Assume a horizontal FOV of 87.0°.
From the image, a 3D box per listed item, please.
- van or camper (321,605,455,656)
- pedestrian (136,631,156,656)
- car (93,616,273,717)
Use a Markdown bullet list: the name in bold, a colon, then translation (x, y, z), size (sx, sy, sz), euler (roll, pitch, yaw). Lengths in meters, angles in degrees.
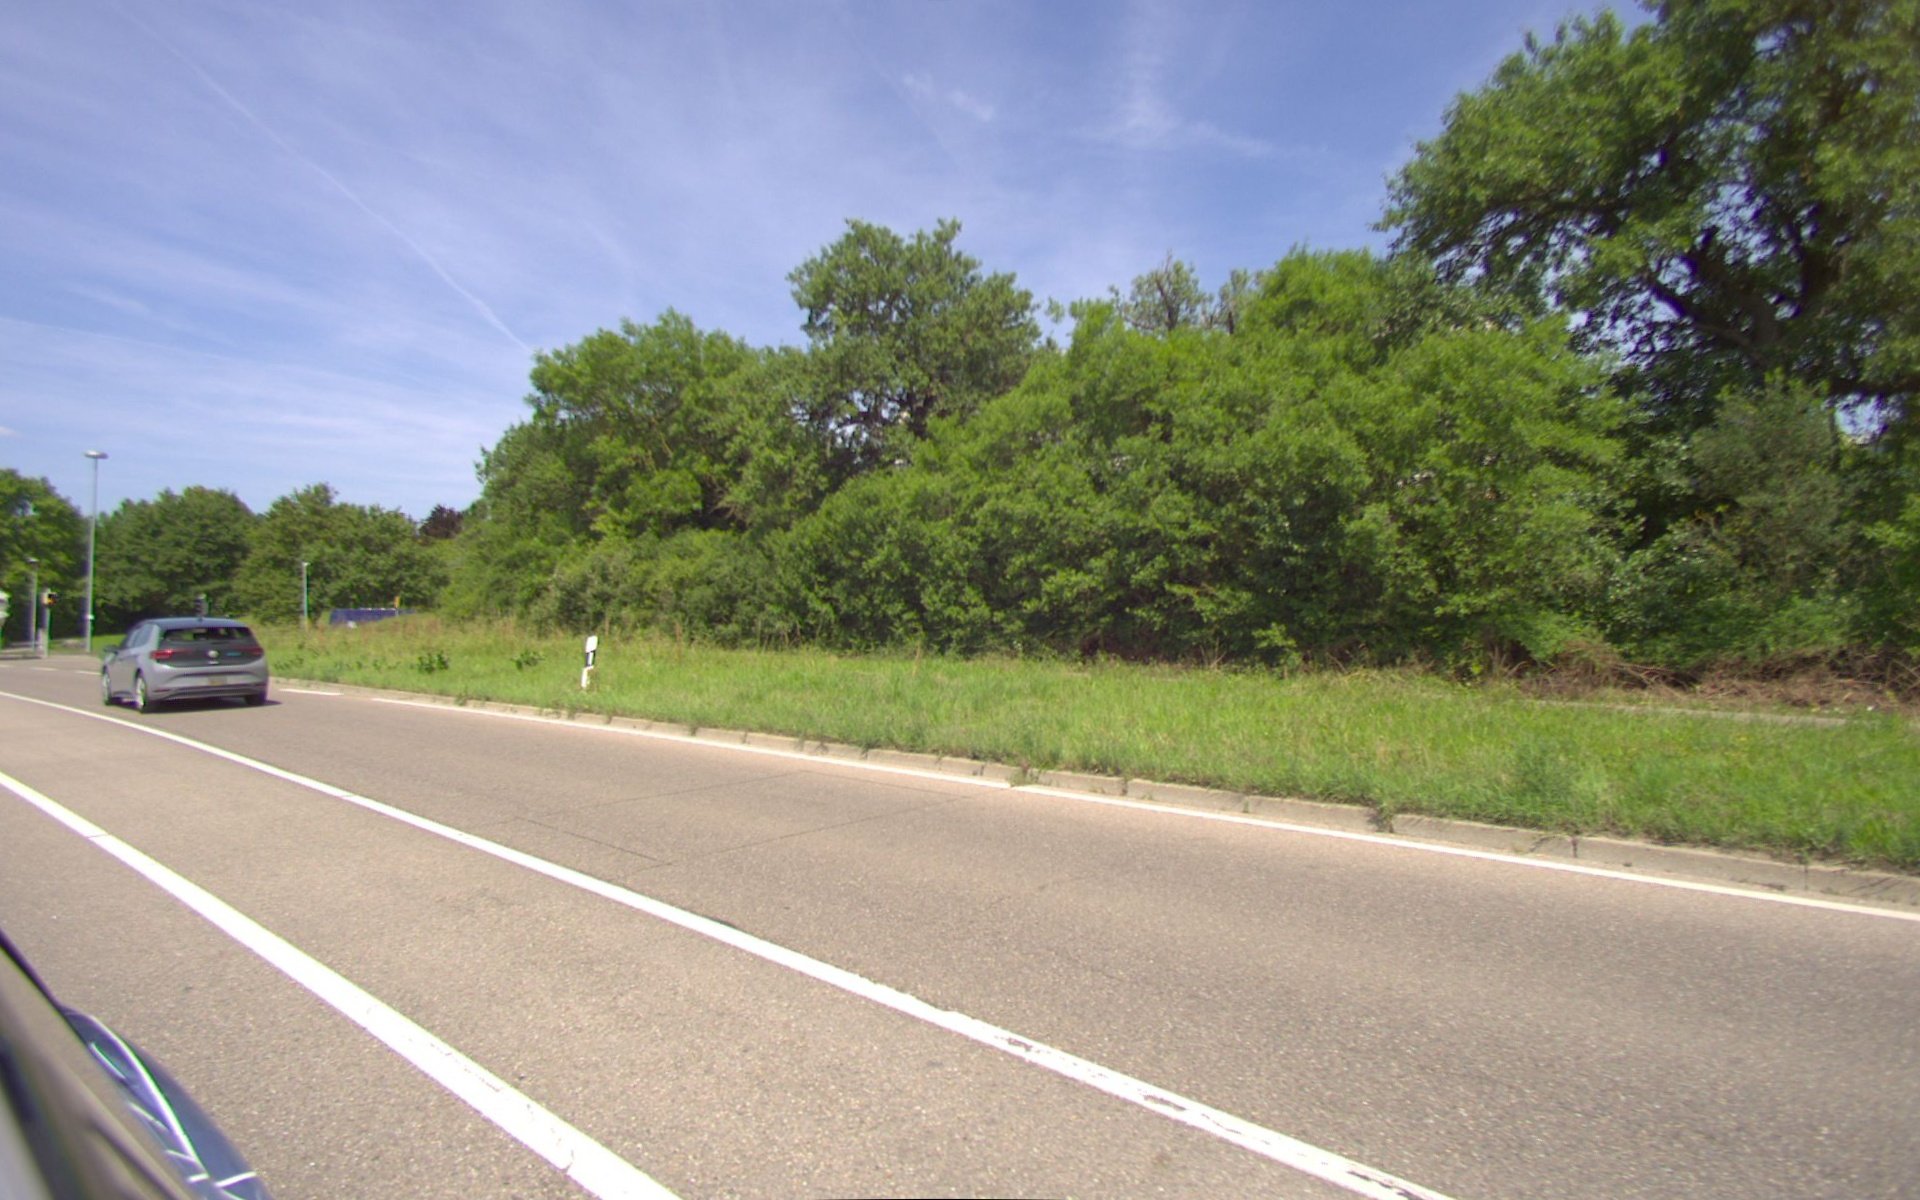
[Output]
- **van or camper**: translation (-36.935, 2.076, 65.575), size (2.246, 2.936, 7.145), euler (-4, -6, 42)
- **pedestrian**: translation (-58.990, 3.166, 73.355), size (0.906, 1.749, 0.902), euler (-1, 0, -24)
- **car**: translation (-13.849, 1.096, 17.960), size (4.226, 1.546, 1.736), euler (-2, 0, 41)
